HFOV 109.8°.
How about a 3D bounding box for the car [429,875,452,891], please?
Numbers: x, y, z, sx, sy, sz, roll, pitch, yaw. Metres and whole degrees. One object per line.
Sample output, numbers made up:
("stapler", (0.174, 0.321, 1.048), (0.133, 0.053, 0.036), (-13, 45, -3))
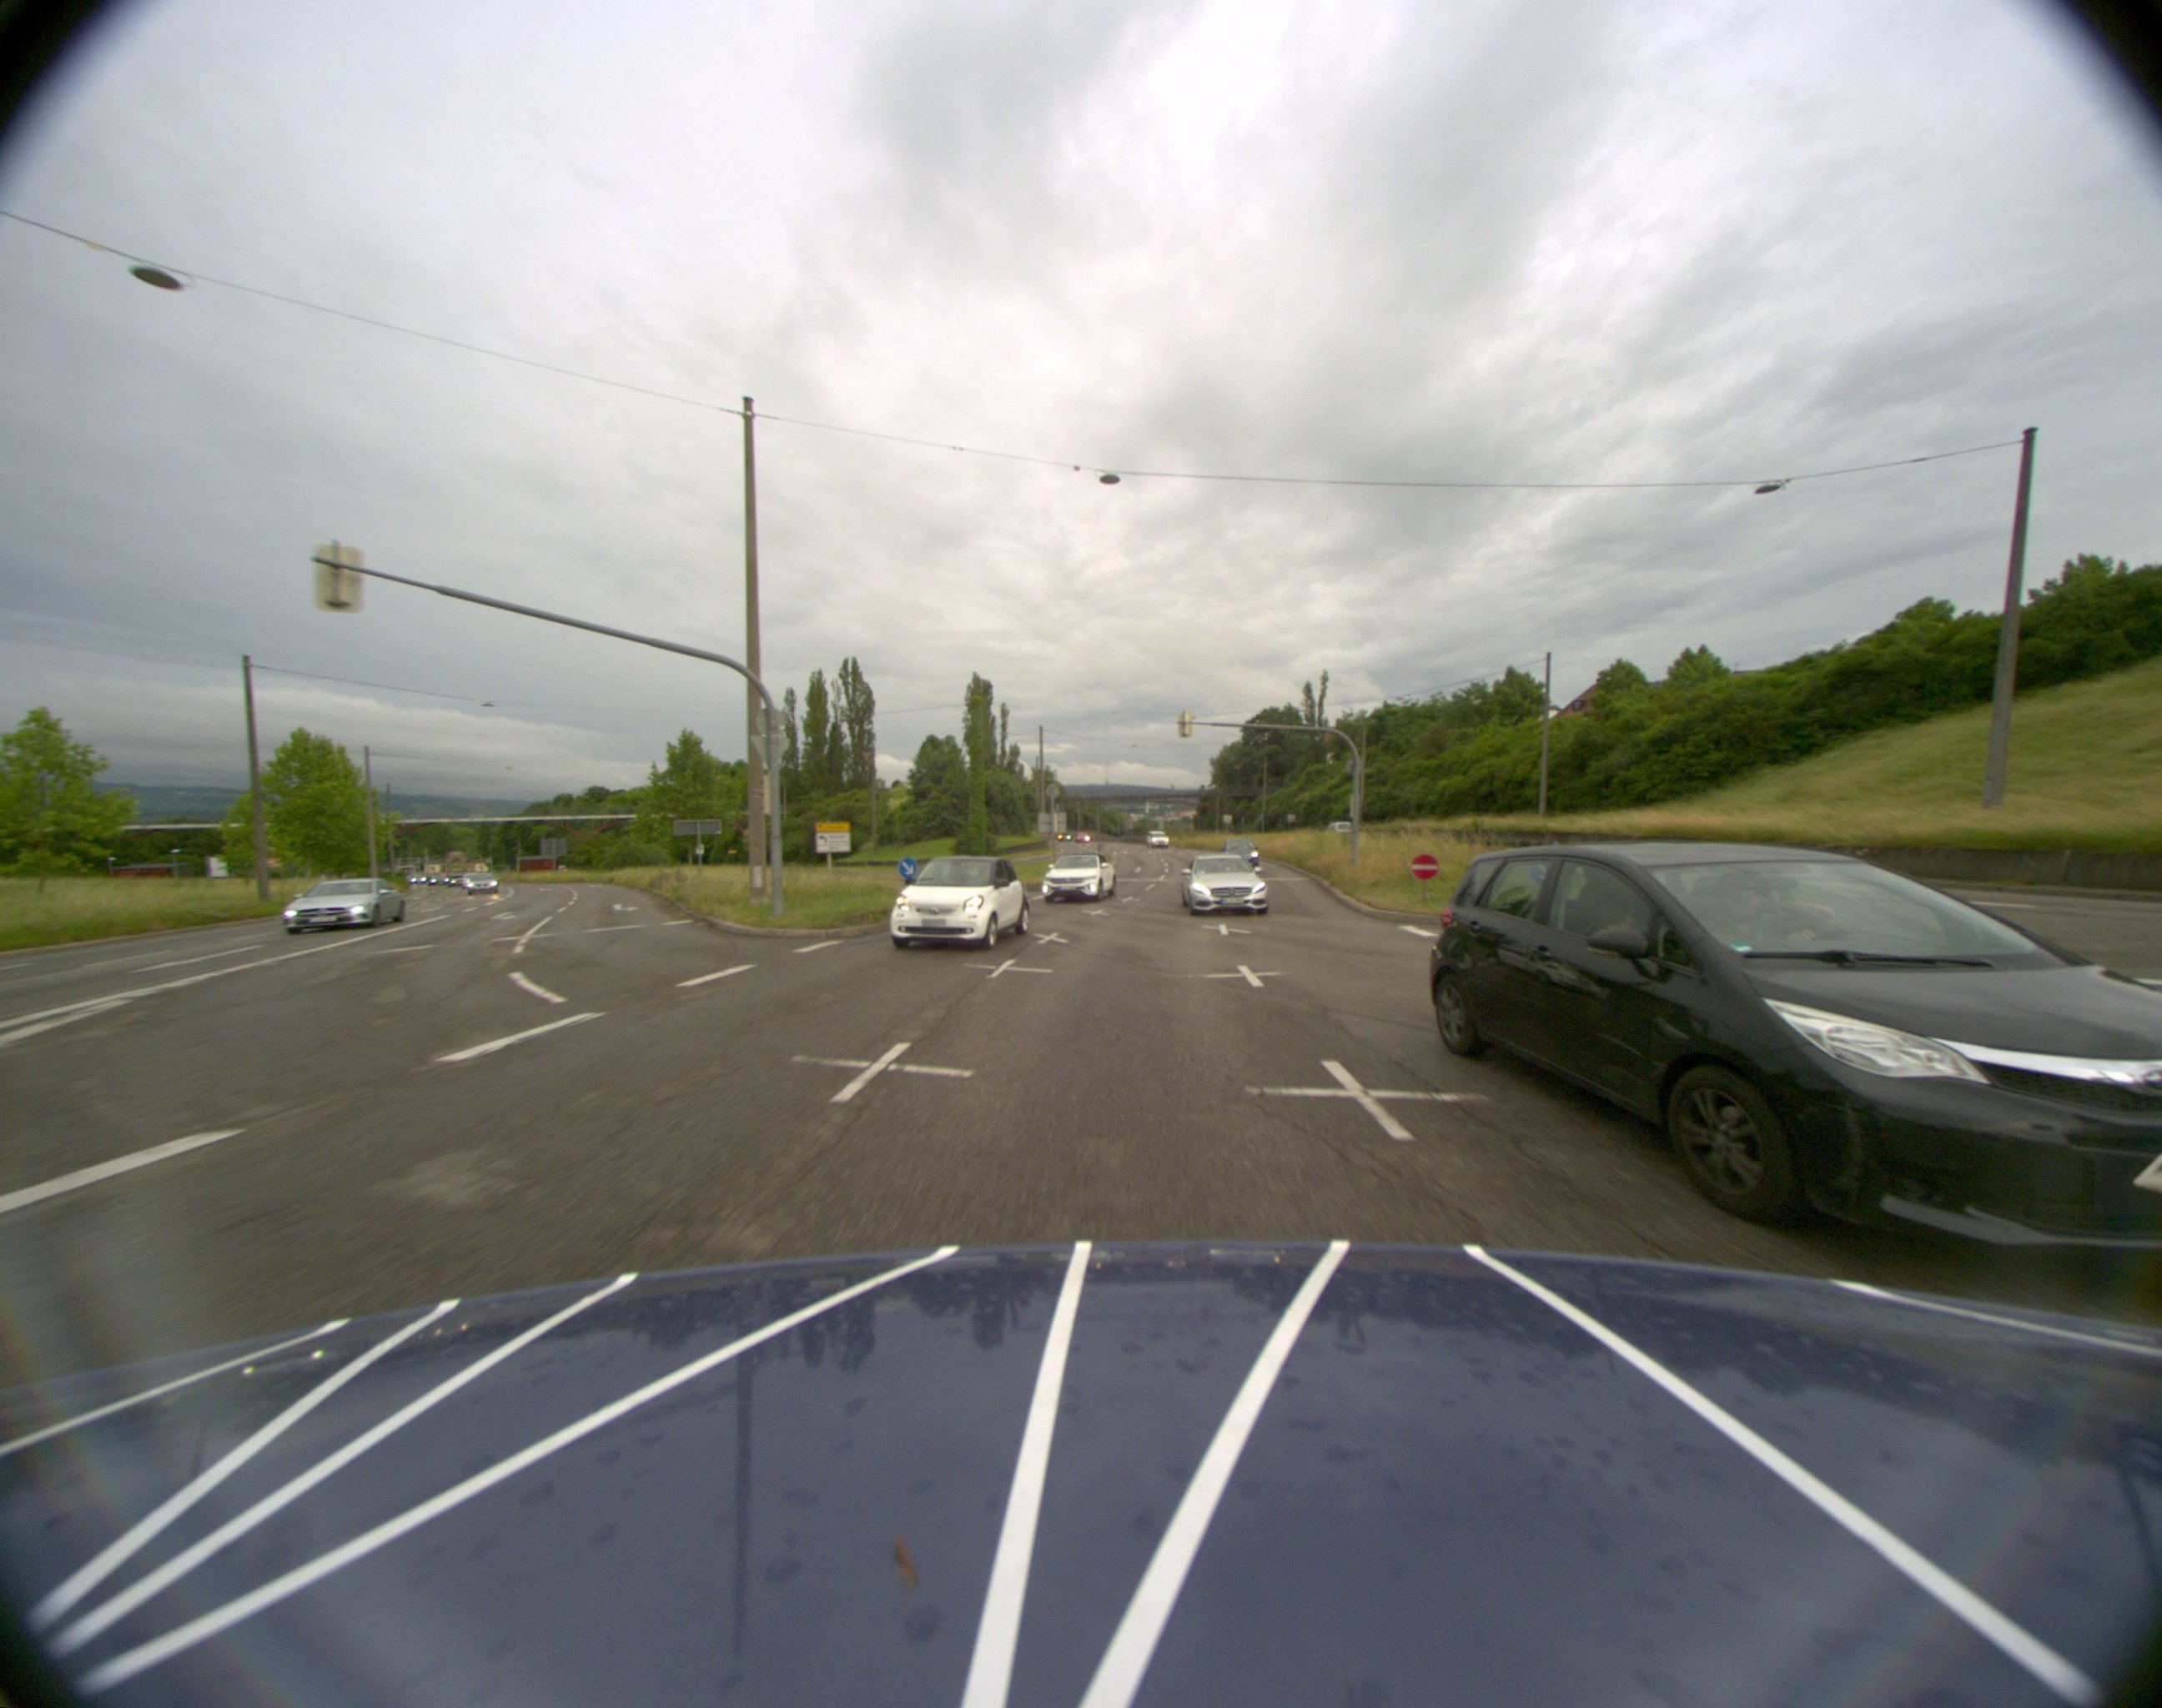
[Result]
("car", (-86.457, 3.850, 102.552), (2.004, 2.002, 3.989), (-2, 1, -36))

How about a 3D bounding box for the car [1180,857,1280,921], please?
("car", (3.646, 0.811, 19.385), (1.998, 1.399, 4.526), (-1, -1, 5))

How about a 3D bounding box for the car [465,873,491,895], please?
("car", (-59.678, 2.950, 75.160), (1.841, 1.937, 3.989), (-4, 2, -39))

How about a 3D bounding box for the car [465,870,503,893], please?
("car", (-41.695, 1.889, 53.135), (1.875, 1.477, 3.989), (-2, 1, -35))

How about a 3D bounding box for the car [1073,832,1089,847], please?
("car", (-0.037, -2.074, 108.600), (1.999, 2.002, 3.998), (-2, 1, -5))

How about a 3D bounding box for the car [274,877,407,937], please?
("car", (-21.100, 1.441, 21.842), (1.751, 1.419, 3.990), (-2, 1, -30))

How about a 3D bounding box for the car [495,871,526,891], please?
("car", (-48.527, 2.285, 64.688), (1.874, 1.488, 3.751), (-2, 1, -35))

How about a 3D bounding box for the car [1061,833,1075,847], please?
("car", (-2.029, -2.221, 120.540), (1.999, 2.002, 3.998), (-2, 1, -3))

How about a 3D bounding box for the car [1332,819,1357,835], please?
("car", (25.522, -2.578, 73.651), (1.560, 1.424, 3.230), (-3, 2, 6))

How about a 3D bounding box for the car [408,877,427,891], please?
("car", (-106.457, 4.781, 121.949), (2.004, 2.002, 3.989), (-2, 1, -36))

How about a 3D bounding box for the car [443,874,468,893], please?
("car", (-70.525, 3.302, 85.628), (2.004, 2.002, 3.989), (-3, 1, -41))

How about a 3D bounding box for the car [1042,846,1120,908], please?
("car", (0.090, 0.683, 25.029), (1.841, 1.533, 3.817), (-2, 5, 11))

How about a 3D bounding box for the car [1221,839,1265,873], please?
("car", (8.782, 0.067, 41.399), (1.926, 1.725, 4.027), (-2, 1, 7))

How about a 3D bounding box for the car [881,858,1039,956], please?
("car", (-2.012, 0.842, 13.958), (1.725, 1.513, 4.230), (-1, 0, 7))

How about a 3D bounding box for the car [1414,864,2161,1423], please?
("car", (3.519, 0.849, 4.153), (1.800, 1.556, 4.044), (0, 0, 3))

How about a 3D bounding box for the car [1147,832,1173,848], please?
("car", (8.714, -1.540, 83.926), (1.999, 1.682, 4.286), (-2, 1, -5))
